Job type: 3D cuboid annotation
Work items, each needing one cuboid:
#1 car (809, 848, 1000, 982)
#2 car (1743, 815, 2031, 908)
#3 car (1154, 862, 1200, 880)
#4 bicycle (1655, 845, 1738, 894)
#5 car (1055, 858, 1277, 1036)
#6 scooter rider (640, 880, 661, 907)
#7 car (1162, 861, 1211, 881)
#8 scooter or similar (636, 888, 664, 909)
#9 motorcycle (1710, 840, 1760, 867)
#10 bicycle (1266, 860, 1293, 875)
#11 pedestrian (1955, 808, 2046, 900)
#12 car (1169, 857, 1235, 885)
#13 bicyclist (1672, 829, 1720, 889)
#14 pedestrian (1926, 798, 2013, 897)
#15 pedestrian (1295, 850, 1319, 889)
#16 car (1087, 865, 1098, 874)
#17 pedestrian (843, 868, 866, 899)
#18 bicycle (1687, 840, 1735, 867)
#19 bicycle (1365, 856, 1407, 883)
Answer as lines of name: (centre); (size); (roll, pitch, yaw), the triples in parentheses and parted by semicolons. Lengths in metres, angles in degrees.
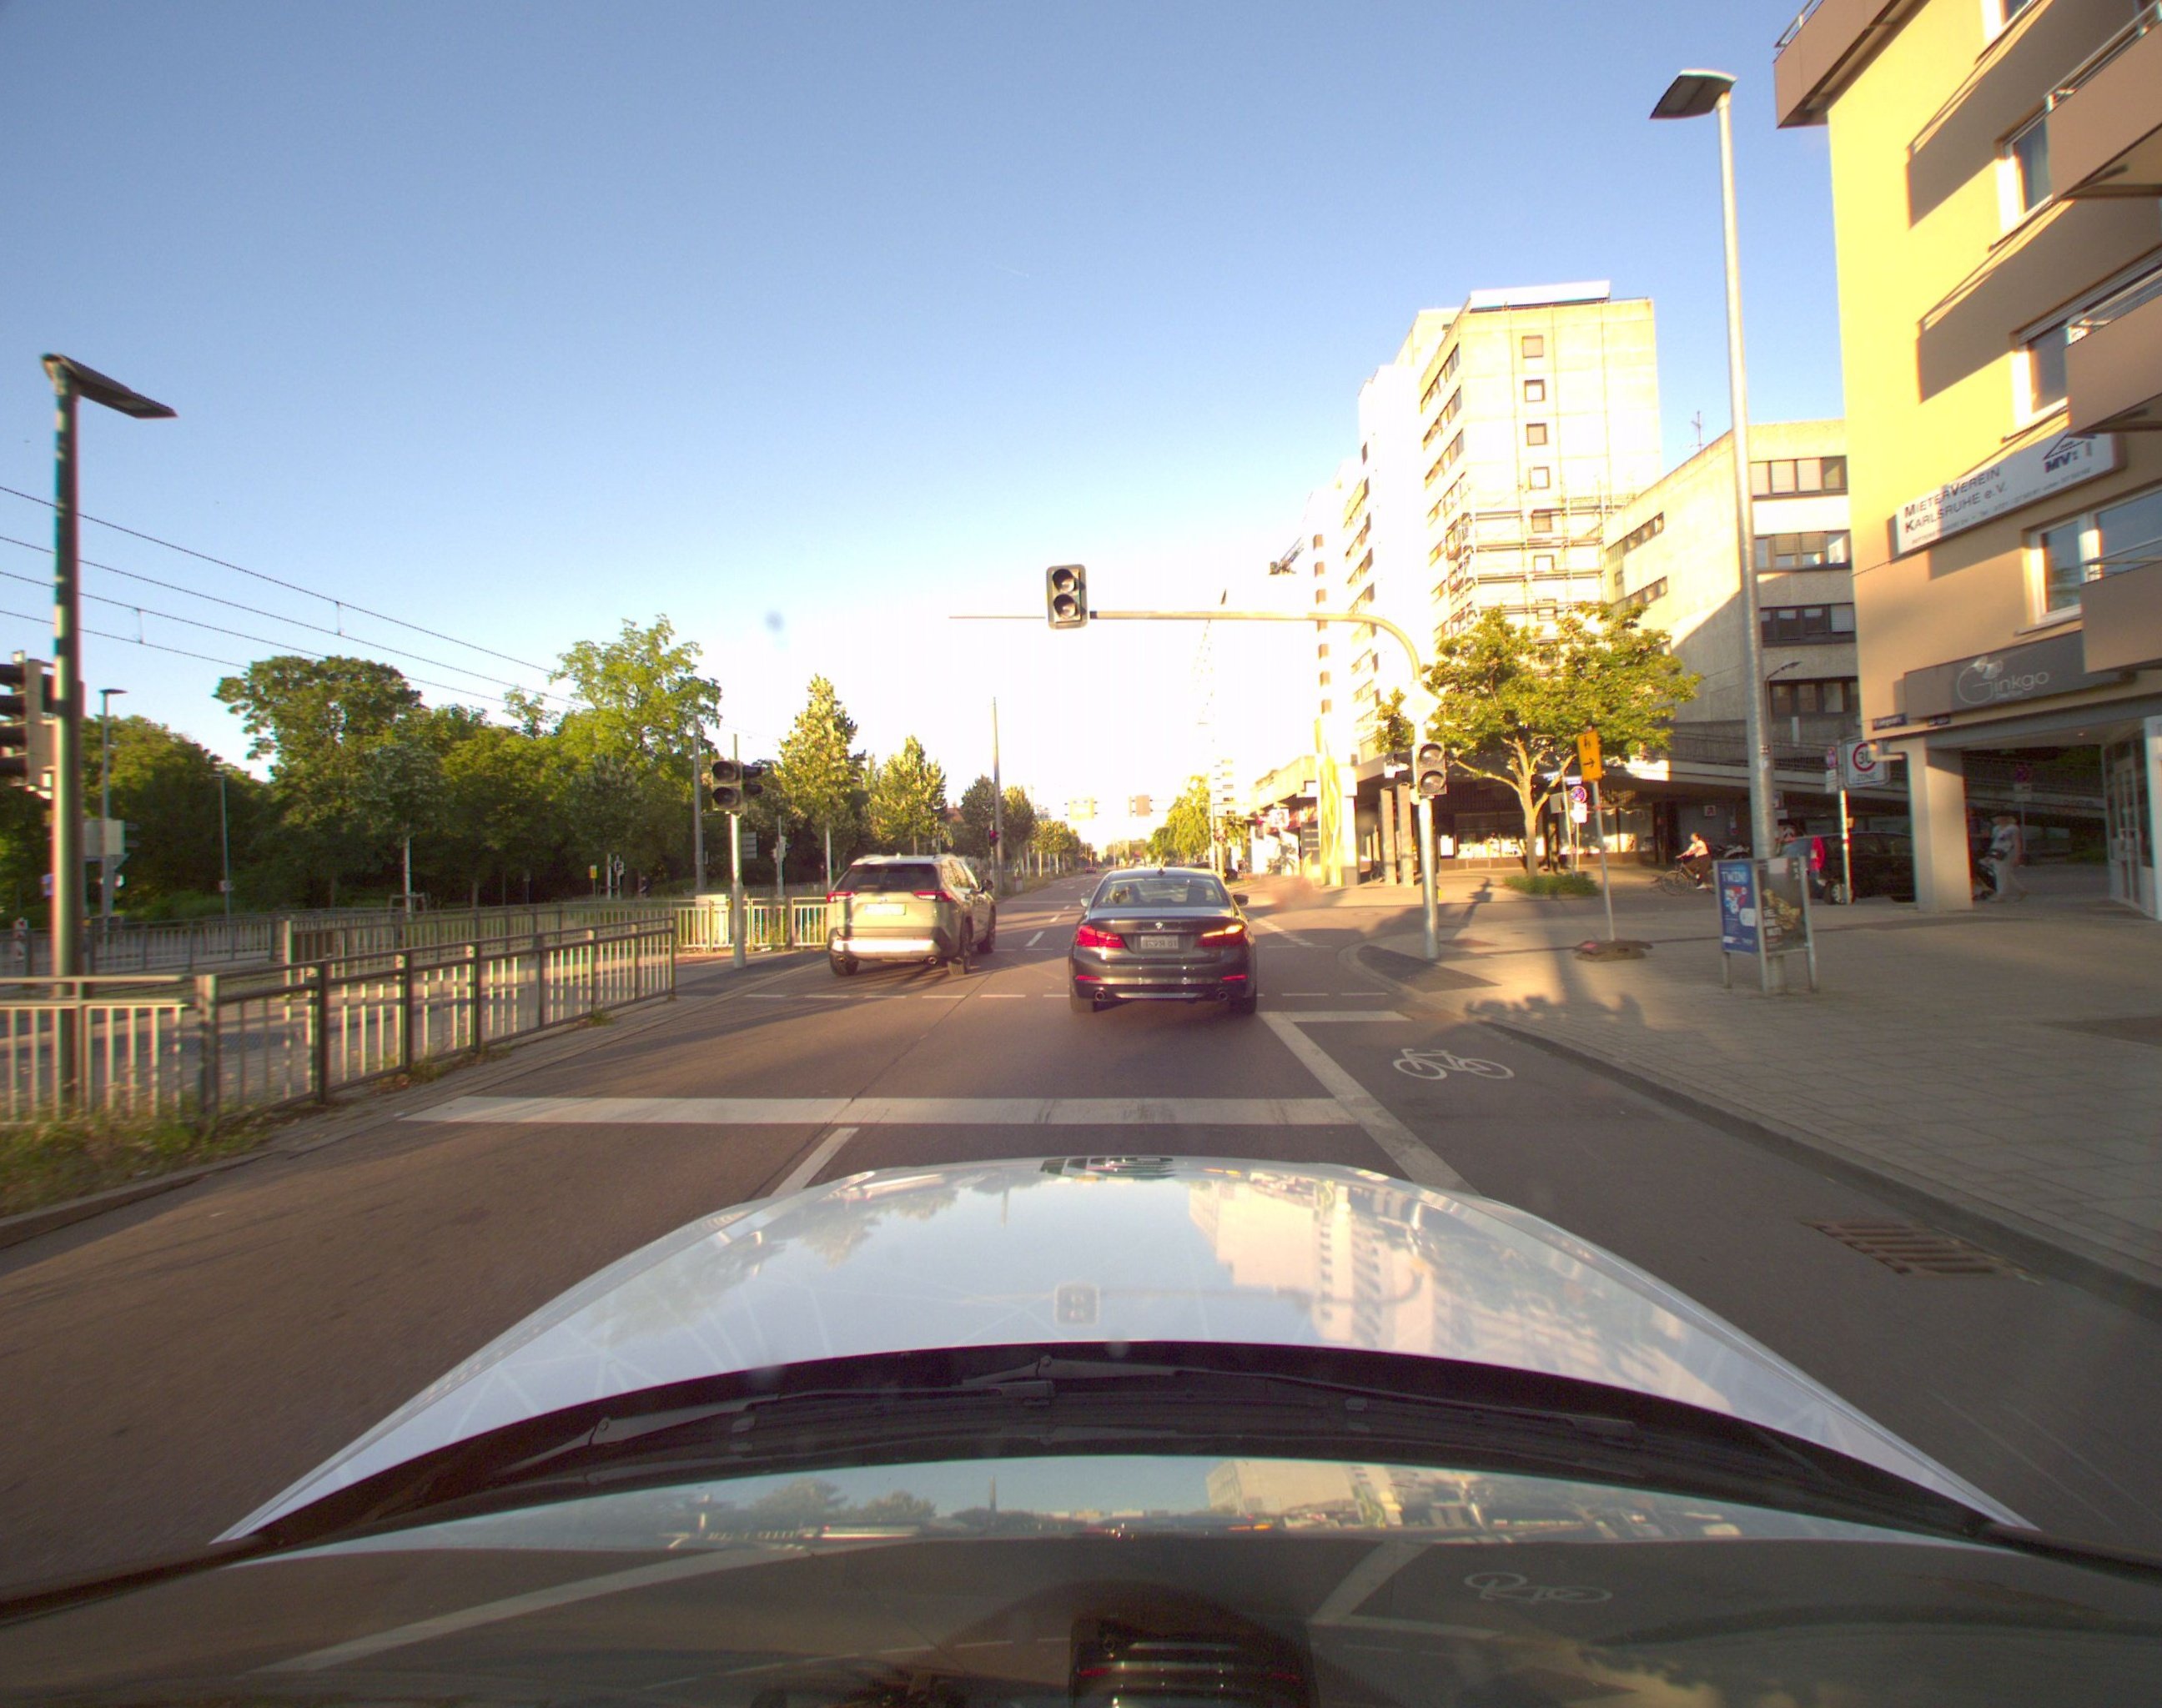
car: (-2.440, 0.756, 12.422); (1.847, 1.658, 4.270); (-1, 0, 2)
car: (16.735, 0.213, 17.108); (4.020, 1.586, 1.708); (-4, -4, 5)
car: (9.525, 1.634, 80.676); (4.285, 1.658, 1.841); (-1, 0, -34)
bicycle: (17.669, 0.447, 23.397); (1.772, 1.310, 0.654); (-2, -1, 6)
car: (0.873, 0.836, 9.412); (1.924, 1.481, 4.526); (-1, 0, 3)
scooter rider: (-25.137, 2.298, 47.515); (0.644, 1.514, 0.828); (-3, -1, 34)
car: (9.602, 1.519, 74.304); (4.285, 1.658, 1.841); (-1, 0, -34)
scooter or similar: (-25.120, 2.597, 47.479); (0.507, 1.153, 1.342); (-3, -1, 34)
motorcycle: (26.981, 0.000, 33.647); (0.642, 1.075, 1.879); (1, -2, 4)
bicycle: (15.698, 1.045, 64.430); (2.005, 1.149, 0.692); (1, -2, 7)
pedestrian: (16.616, 0.005, 14.730); (0.832, 1.586, 0.647); (-2, -1, 0)
car: (7.757, 1.072, 52.126); (4.291, 1.658, 1.838); (-1, 0, -41)
bicyclist: (17.665, 0.144, 23.398); (0.814, 1.681, 0.654); (-2, -1, 6)
pedestrian: (16.933, -0.117, 15.537); (0.829, 1.828, 0.650); (-3, -1, 11)
pedestrian: (10.060, 0.682, 36.272); (0.832, 1.712, 0.647); (-2, -1, 0)
car: (2.032, 2.643, 142.552); (1.971, 1.433, 4.844); (-1, 0, 2)
pedestrian: (-12.122, 1.589, 43.559); (0.829, 1.586, 0.815); (-3, -1, 15)
bicycle: (26.320, 0.004, 34.076); (0.578, 1.075, 1.979); (1, -2, 4)
bicycle: (13.780, 0.707, 36.821); (0.690, 1.149, 2.011); (1, -2, -17)
